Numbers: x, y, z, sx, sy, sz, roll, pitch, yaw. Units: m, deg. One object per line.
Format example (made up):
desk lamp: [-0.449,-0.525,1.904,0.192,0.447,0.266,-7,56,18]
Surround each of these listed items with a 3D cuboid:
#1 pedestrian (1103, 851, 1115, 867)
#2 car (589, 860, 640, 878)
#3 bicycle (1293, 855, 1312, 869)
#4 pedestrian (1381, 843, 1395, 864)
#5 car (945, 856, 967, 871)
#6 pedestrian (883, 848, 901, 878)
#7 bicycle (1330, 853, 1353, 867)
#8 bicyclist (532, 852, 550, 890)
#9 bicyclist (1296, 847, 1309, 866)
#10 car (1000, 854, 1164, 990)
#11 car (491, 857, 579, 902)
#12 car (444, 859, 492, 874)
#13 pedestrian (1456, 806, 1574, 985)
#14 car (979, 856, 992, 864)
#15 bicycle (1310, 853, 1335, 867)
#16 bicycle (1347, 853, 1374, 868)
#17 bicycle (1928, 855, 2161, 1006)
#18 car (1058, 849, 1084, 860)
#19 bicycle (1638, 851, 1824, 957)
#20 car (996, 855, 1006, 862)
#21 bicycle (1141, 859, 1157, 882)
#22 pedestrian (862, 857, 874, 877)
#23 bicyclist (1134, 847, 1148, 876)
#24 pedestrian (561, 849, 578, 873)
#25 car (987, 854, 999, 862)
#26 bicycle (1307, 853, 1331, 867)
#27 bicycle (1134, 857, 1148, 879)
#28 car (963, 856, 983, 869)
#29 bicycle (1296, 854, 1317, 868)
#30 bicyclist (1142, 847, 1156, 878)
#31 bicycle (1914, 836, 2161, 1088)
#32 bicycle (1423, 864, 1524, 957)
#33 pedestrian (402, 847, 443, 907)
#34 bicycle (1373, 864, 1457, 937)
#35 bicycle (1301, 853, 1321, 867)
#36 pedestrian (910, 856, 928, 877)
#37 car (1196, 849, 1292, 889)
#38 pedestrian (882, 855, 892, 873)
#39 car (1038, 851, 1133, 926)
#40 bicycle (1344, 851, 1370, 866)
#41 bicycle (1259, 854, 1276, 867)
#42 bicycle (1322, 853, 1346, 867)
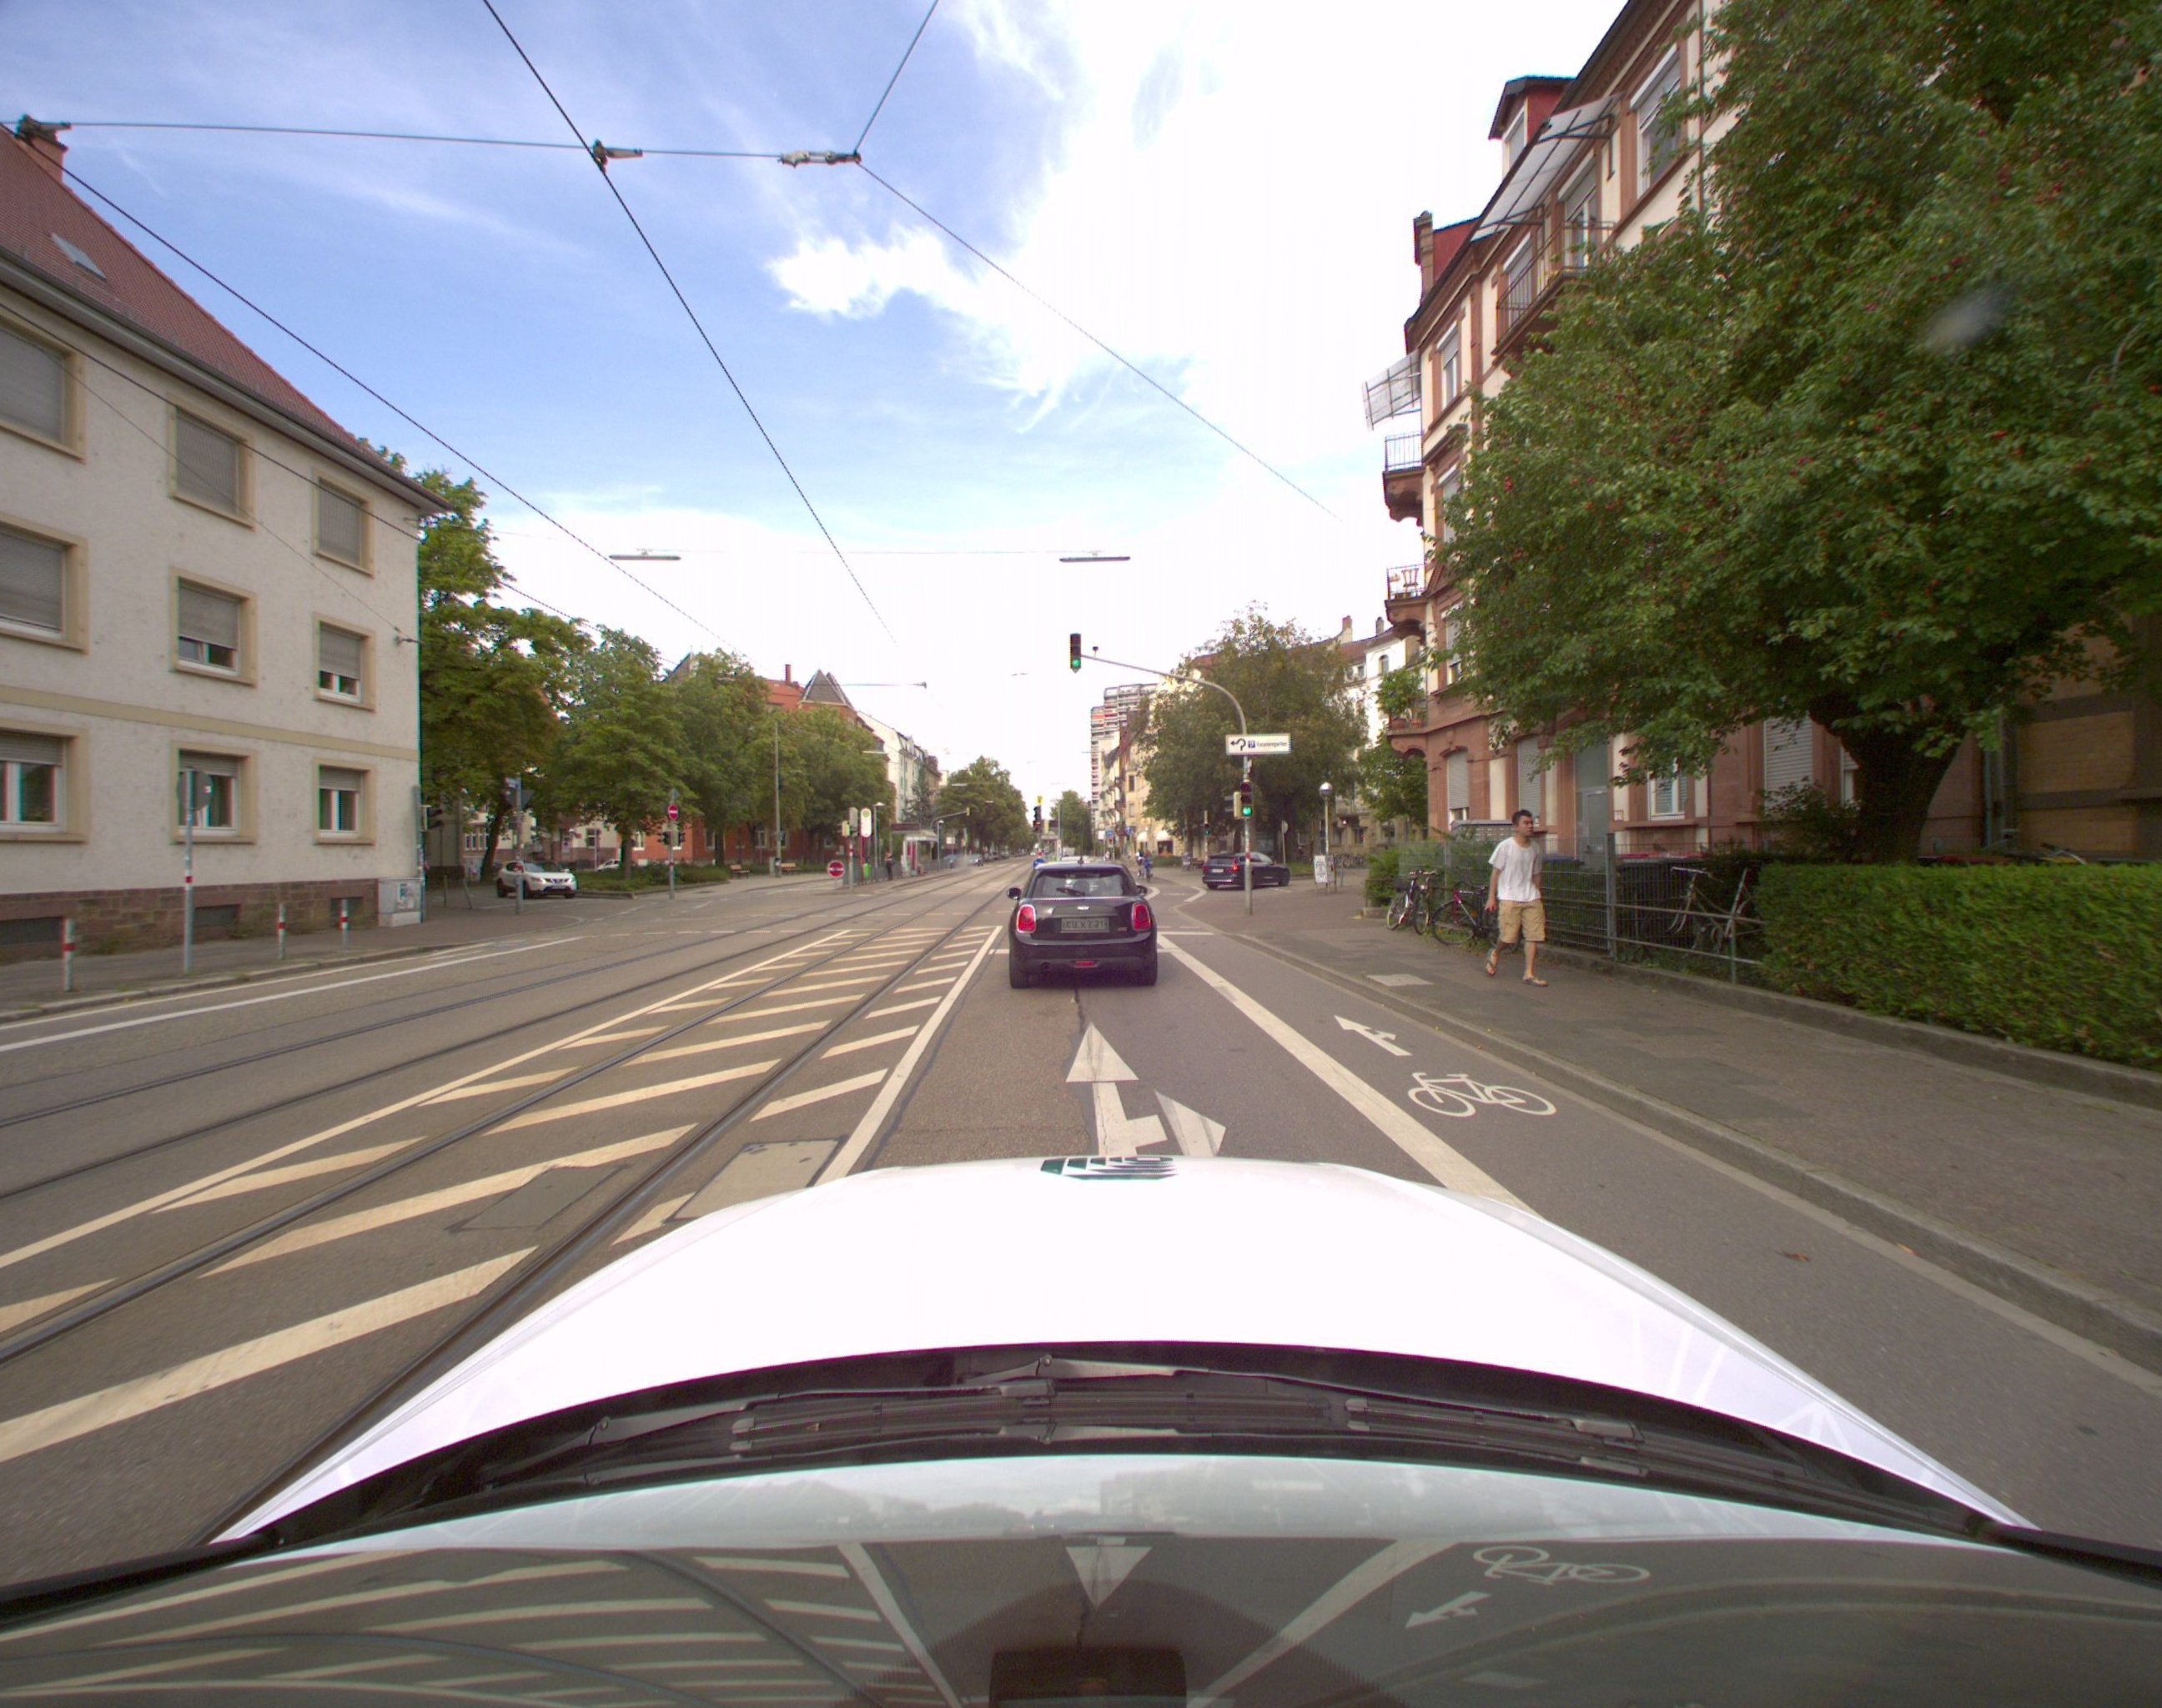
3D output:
pedestrian: [3.016,0.521,87.859,0.723,1.674,0.840,-4,0,44]
car: [-41.874,1.355,73.117,3.953,1.478,1.825,-1,0,20]
bicycle: [17.573,0.599,64.635,0.615,1.076,1.812,-1,0,-14]
pedestrian: [24.277,-0.051,64.458,0.730,1.676,0.833,-1,0,-9]
car: [-13.195,0.978,86.150,1.746,1.441,3.999,1,0,0]
pedestrian: [-10.435,0.511,44.894,0.851,1.621,0.841,-1,0,-7]
bicycle: [21.182,0.509,66.285,1.897,1.128,0.590,-1,0,-25]
bicyclist: [-25.579,0.789,38.578,0.614,1.775,0.902,-1,0,-30]
bicyclist: [17.571,0.205,64.629,0.615,1.473,0.911,-1,0,-14]
car: [-0.029,0.732,10.743,1.747,1.441,3.998,1,0,-2]
car: [-22.934,1.103,34.135,4.105,1.721,1.852,-4,-3,38]
car: [-59.479,1.213,79.031,3.953,1.395,1.825,-1,0,20]
pedestrian: [4.496,0.404,8.498,0.727,1.754,0.950,-1,0,3]
car: [-15.855,0.967,135.109,1.763,1.395,3.996,-1,0,-3]
bicycle: [20.204,0.520,68.126,1.888,1.128,0.596,-1,0,-11]
bicycle: [21.958,0.495,63.992,1.885,1.128,0.531,-1,0,-6]
bicycle: [7.116,0.532,5.918,1.542,1.008,0.444,-1,0,-4]
car: [-2.051,0.056,167.984,5.067,2.272,2.368,-1,0,-42]
bicycle: [6.603,0.492,8.301,1.542,1.008,0.509,-1,0,-4]
car: [-18.195,0.961,184.707,1.988,1.552,3.997,-1,0,-2]
bicycle: [3.485,0.837,41.833,0.597,1.170,1.695,-1,0,-2]
pedestrian: [-18.929,1.171,72.394,0.832,1.703,0.731,-1,0,-7]
bicyclist: [3.342,0.415,45.497,0.682,1.564,0.998,-1,0,0]
pedestrian: [-38.553,0.522,61.388,0.745,1.754,0.736,-1,0,16]
car: [-17.442,0.855,161.767,1.988,1.552,3.997,-1,0,-2]
bicycle: [20.046,0.524,68.706,1.888,1.128,0.561,-1,0,-11]
bicycle: [3.347,0.762,45.474,0.682,1.170,1.696,-1,0,0]
car: [-12.580,1.014,95.305,1.746,1.441,3.999,1,0,0]
bicycle: [19.343,0.577,69.873,1.901,1.128,0.527,-2,0,-33]
bicyclist: [3.482,0.429,41.830,0.593,1.550,1.013,-1,0,-2]
bicycle: [5.780,0.548,4.619,0.514,1.282,1.550,-1,0,0]
bicycle: [5.220,0.712,10.923,0.507,1.088,1.549,-4,0,-2]
pedestrian: [-21.546,0.740,26.657,0.836,1.900,0.727,-1,0,-23]
bicycle: [5.562,0.738,13.659,0.669,1.106,1.671,-1,0,-2]
bicycle: [19.613,0.509,69.399,1.901,1.128,0.527,-3,1,-33]
pedestrian: [-10.504,0.818,52.866,1.057,1.294,0.983,-1,0,-7]
car: [6.528,0.557,32.250,1.735,1.441,4.507,-1,0,41]
pedestrian: [-18.283,0.941,76.881,0.832,1.703,0.731,-1,0,-7]
car: [0.051,0.707,18.755,1.921,1.510,3.998,-1,0,-1]
bicycle: [21.856,0.361,64.574,1.885,1.128,0.531,-1,0,-6]
bicycle: [16.692,0.562,72.977,0.659,1.128,1.906,-1,0,40]
bicycle: [20.832,0.513,67.089,1.893,1.128,0.579,-1,0,-19]
